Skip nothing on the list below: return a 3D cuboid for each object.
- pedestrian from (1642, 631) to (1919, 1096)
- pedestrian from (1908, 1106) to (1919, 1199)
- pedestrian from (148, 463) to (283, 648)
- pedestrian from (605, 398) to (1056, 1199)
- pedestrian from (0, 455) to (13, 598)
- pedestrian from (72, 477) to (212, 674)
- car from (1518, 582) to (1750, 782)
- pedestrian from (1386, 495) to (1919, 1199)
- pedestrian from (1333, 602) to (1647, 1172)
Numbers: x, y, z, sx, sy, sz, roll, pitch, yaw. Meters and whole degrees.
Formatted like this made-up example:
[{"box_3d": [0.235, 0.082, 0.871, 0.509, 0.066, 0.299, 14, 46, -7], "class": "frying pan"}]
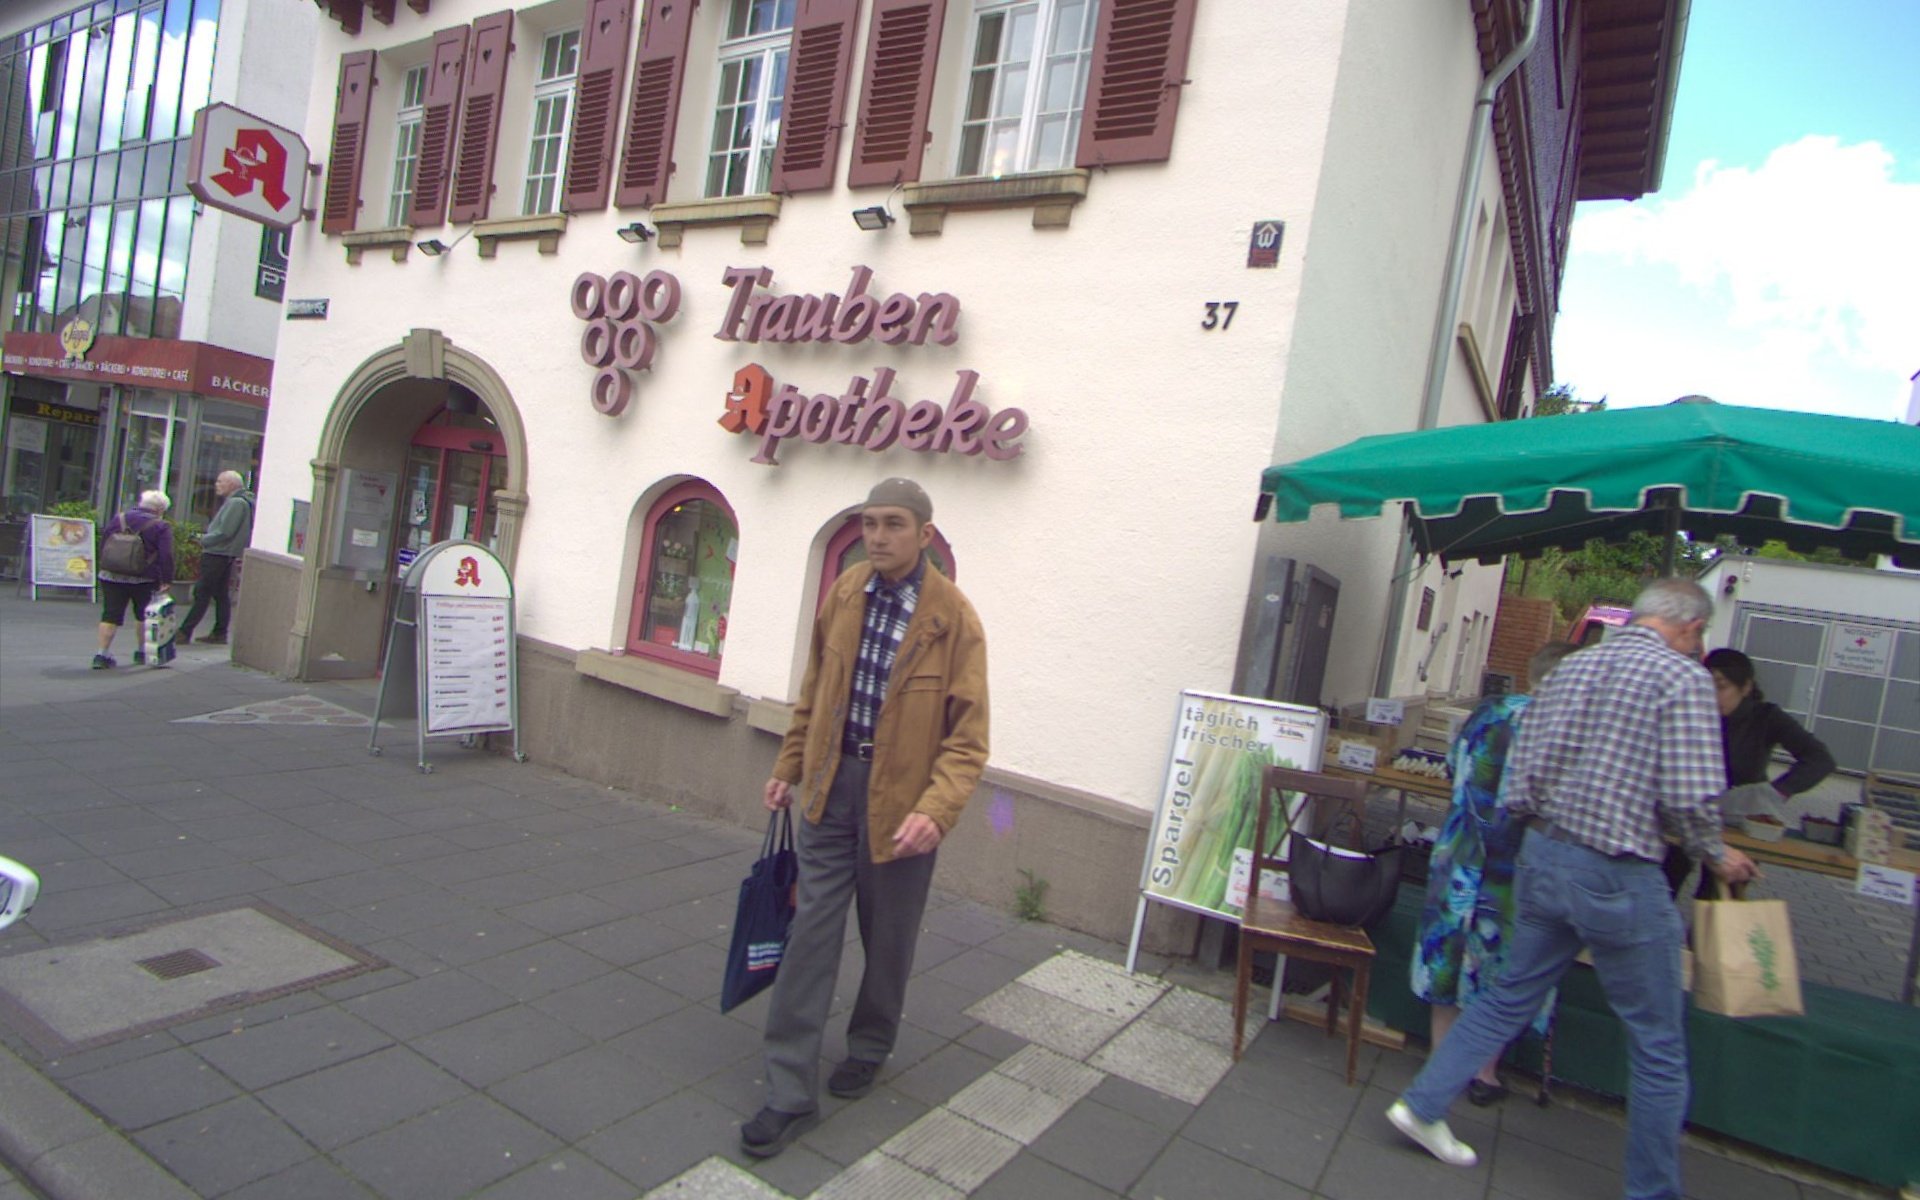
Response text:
[{"box_3d": [3.323, 0.991, 4.119, 0.692, 1.633, 0.623, 7, 1, 37], "class": "pedestrian"}, {"box_3d": [2.399, 0.870, 1.939, 0.695, 1.789, 0.620, 6, 1, -32], "class": "pedestrian"}, {"box_3d": [-7.751, -0.453, 10.482, 0.804, 1.791, 0.774, 7, 1, 33], "class": "pedestrian"}, {"box_3d": [-0.300, 0.475, 2.641, 0.774, 1.824, 0.676, 7, 1, 19], "class": "pedestrian"}, {"box_3d": [-7.585, -0.283, 7.332, 0.857, 1.666, 0.772, 7, 1, 38], "class": "pedestrian"}, {"box_3d": [-6.912, -0.211, 8.503, 0.796, 1.552, 0.723, 7, 4, 38], "class": "pedestrian"}, {"box_3d": [8.125, 0.970, 12.334, 1.842, 1.863, 4.153, 7, 0, 32], "class": "car"}, {"box_3d": [1.830, 0.731, 2.744, 0.768, 1.881, 0.700, 6, 1, -15], "class": "pedestrian"}, {"box_3d": [1.807, 0.871, 3.421, 0.692, 1.633, 0.623, 7, 1, 37], "class": "pedestrian"}]
